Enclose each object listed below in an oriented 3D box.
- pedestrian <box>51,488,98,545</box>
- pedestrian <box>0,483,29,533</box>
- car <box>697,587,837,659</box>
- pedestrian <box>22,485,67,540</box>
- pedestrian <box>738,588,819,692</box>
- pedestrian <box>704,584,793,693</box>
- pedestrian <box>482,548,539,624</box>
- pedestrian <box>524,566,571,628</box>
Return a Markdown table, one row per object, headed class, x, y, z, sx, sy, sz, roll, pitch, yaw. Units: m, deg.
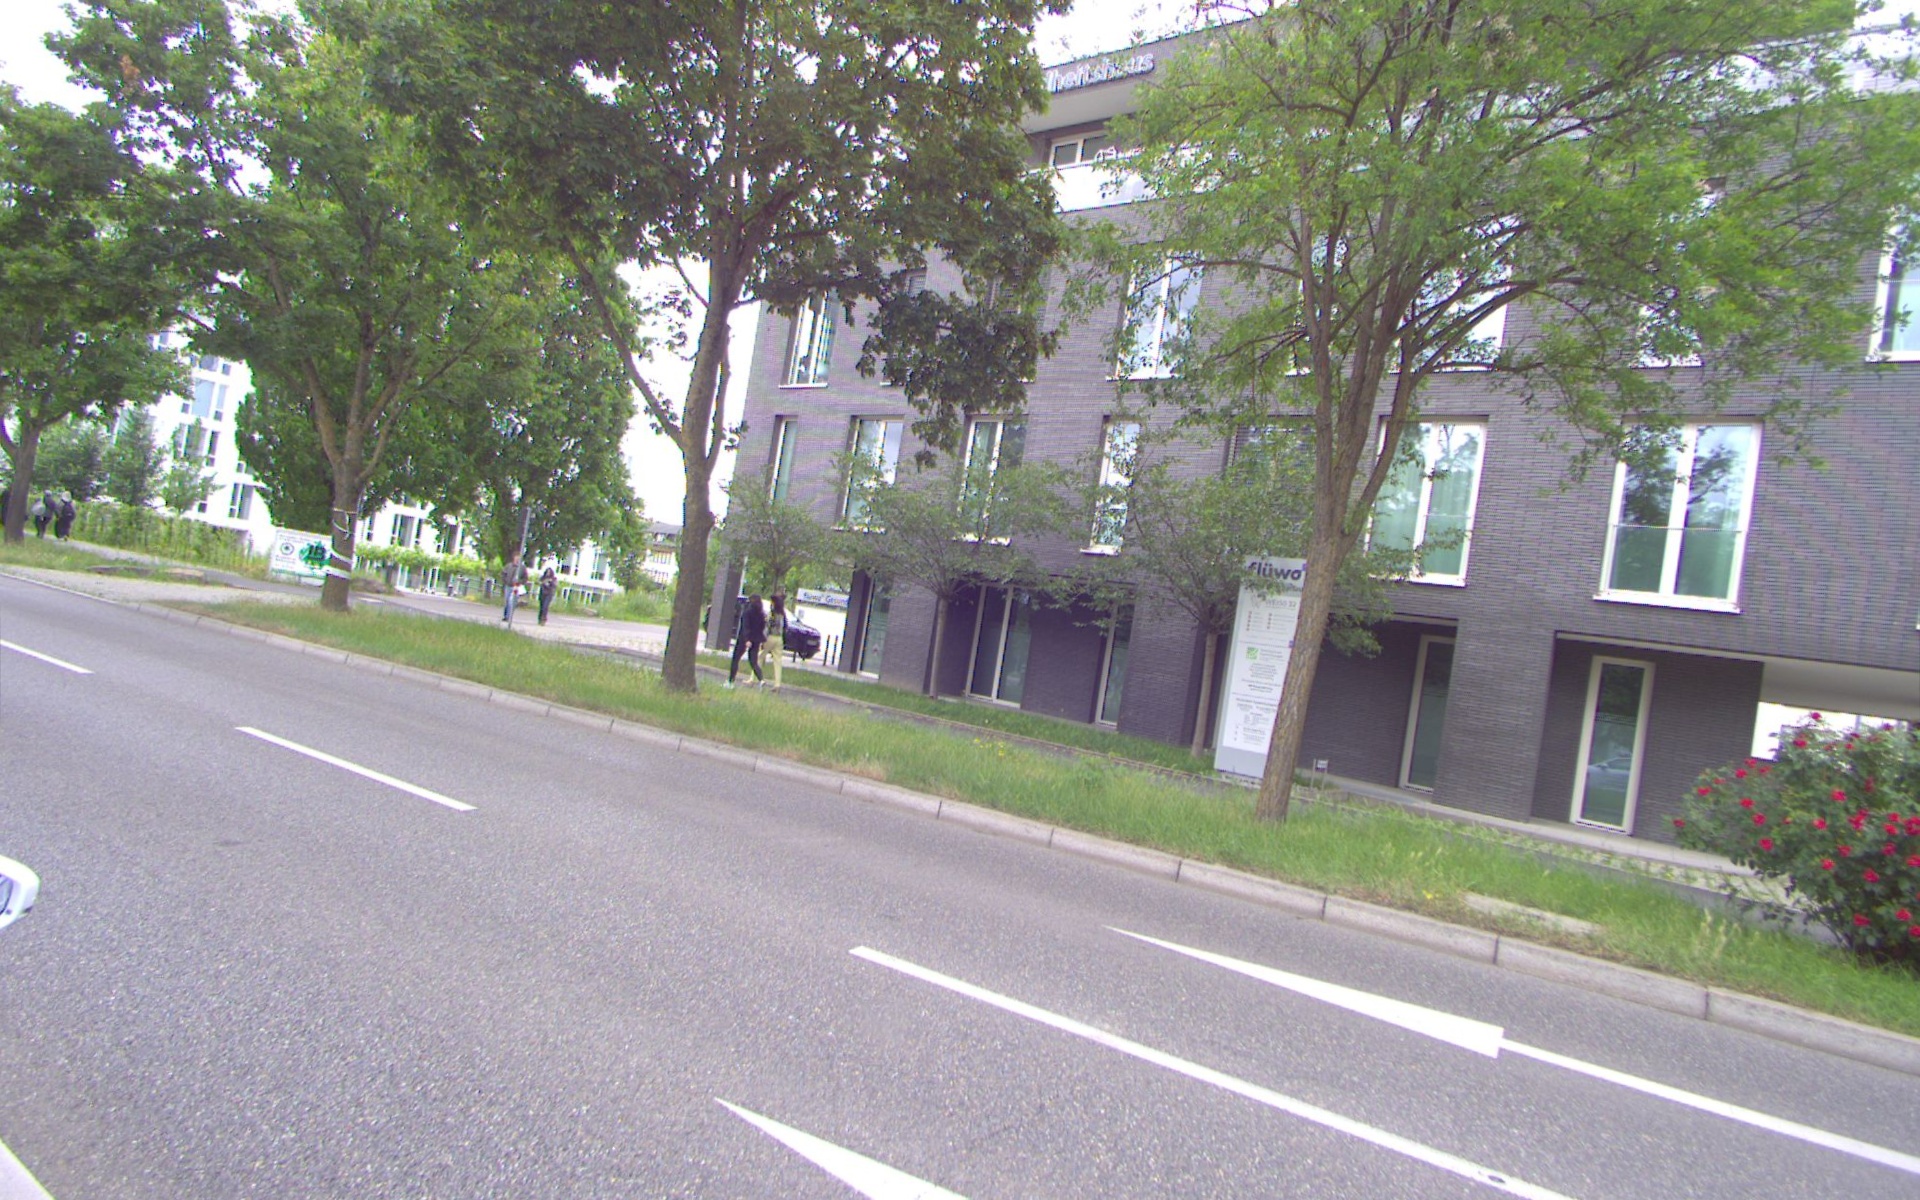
| class | x | y | z | sx | sy | sz | roll | pitch | yaw |
| --- | --- | --- | --- | --- | --- | --- | --- | --- | --- |
| pedestrian | -29.158 | -2.741 | 33.135 | 0.868 | 1.705 | 0.768 | 6 | -1 | 31 |
| pedestrian | -30.388 | -2.952 | 31.936 | 1.093 | 1.465 | 0.791 | 6 | -1 | 31 |
| car | -6.102 | 0.718 | 31.676 | 4.080 | 1.665 | 1.759 | 7 | -2 | 32 |
| pedestrian | -29.558 | -2.820 | 32.478 | 0.868 | 1.614 | 0.701 | 6 | -1 | 31 |
| pedestrian | -3.205 | 0.705 | 17.763 | 0.937 | 1.679 | 0.779 | 7 | -1 | 38 |
| pedestrian | -3.598 | 0.653 | 17.092 | 1.043 | 1.679 | 0.796 | 7 | -1 | 38 |
| pedestrian | -12.174 | -0.362 | 27.270 | 0.946 | 1.889 | 0.978 | 8 | -1 | -8 |
| pedestrian | -11.419 | -0.074 | 27.891 | 0.821 | 1.575 | 0.875 | 8 | -1 | -8 |
